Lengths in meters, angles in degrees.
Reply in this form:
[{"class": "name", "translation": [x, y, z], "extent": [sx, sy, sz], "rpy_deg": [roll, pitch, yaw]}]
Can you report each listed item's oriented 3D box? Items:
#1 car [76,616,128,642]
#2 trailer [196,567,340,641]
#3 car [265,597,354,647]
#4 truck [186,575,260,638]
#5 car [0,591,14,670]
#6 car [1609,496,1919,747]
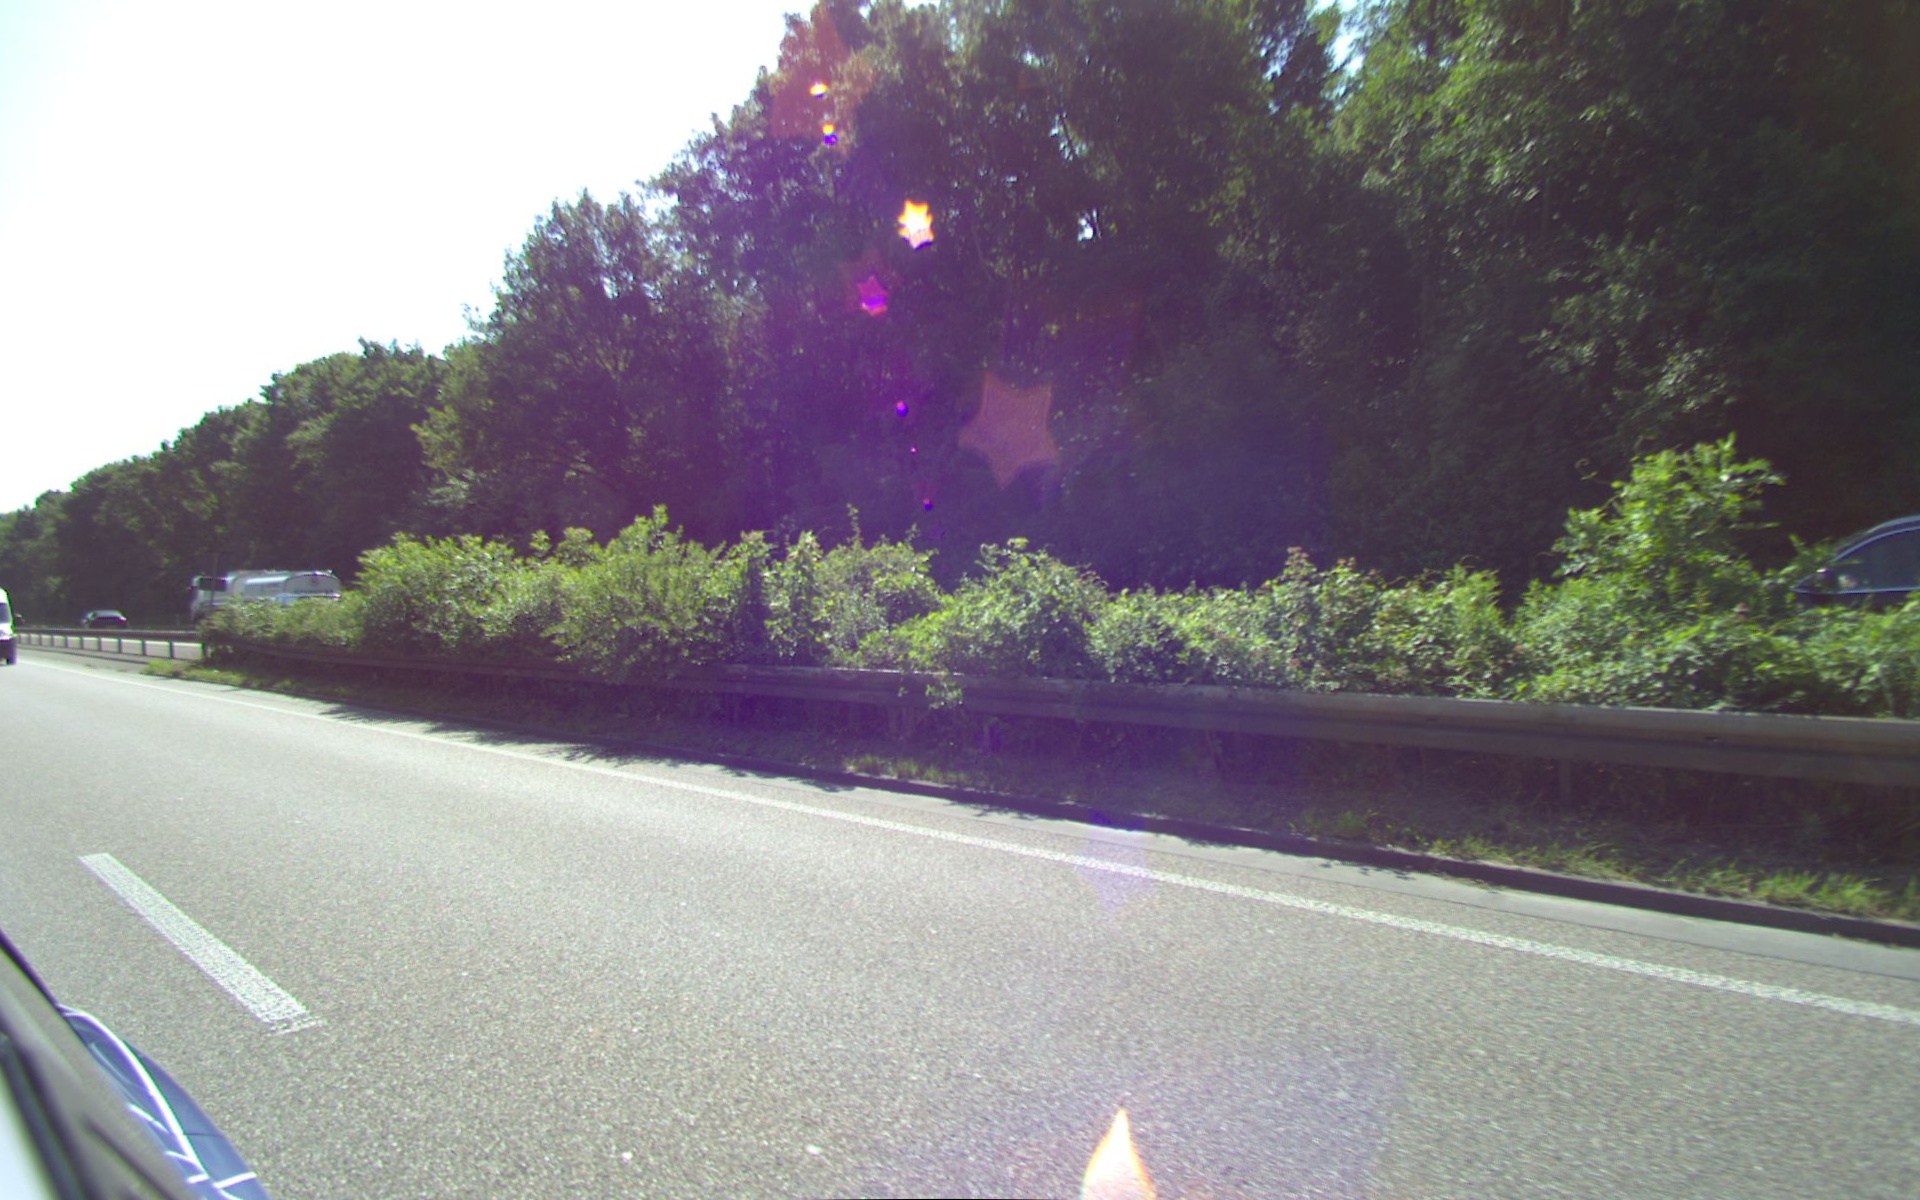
[{"class": "car", "translation": [-50.776, 1.703, 59.860], "extent": [4.242, 1.491, 1.705], "rpy_deg": [-1, 0, 41]}, {"class": "trailer", "translation": [-34.480, 0.276, 50.023], "extent": [14.426, 3.260, 2.466], "rpy_deg": [-1, 0, 42]}, {"class": "car", "translation": [-21.726, 0.709, 33.763], "extent": [3.649, 1.559, 1.548], "rpy_deg": [-1, 0, 41]}, {"class": "truck", "translation": [-39.928, 0.348, 54.801], "extent": [3.998, 3.283, 2.400], "rpy_deg": [-1, 0, 41]}, {"class": "car", "translation": [-32.017, 0.990, 32.414], "extent": [4.635, 2.462, 2.020], "rpy_deg": [-1, 0, 41]}, {"class": "car", "translation": [7.830, 0.139, 7.751], "extent": [4.551, 1.816, 1.822], "rpy_deg": [-1, 0, 43]}]
